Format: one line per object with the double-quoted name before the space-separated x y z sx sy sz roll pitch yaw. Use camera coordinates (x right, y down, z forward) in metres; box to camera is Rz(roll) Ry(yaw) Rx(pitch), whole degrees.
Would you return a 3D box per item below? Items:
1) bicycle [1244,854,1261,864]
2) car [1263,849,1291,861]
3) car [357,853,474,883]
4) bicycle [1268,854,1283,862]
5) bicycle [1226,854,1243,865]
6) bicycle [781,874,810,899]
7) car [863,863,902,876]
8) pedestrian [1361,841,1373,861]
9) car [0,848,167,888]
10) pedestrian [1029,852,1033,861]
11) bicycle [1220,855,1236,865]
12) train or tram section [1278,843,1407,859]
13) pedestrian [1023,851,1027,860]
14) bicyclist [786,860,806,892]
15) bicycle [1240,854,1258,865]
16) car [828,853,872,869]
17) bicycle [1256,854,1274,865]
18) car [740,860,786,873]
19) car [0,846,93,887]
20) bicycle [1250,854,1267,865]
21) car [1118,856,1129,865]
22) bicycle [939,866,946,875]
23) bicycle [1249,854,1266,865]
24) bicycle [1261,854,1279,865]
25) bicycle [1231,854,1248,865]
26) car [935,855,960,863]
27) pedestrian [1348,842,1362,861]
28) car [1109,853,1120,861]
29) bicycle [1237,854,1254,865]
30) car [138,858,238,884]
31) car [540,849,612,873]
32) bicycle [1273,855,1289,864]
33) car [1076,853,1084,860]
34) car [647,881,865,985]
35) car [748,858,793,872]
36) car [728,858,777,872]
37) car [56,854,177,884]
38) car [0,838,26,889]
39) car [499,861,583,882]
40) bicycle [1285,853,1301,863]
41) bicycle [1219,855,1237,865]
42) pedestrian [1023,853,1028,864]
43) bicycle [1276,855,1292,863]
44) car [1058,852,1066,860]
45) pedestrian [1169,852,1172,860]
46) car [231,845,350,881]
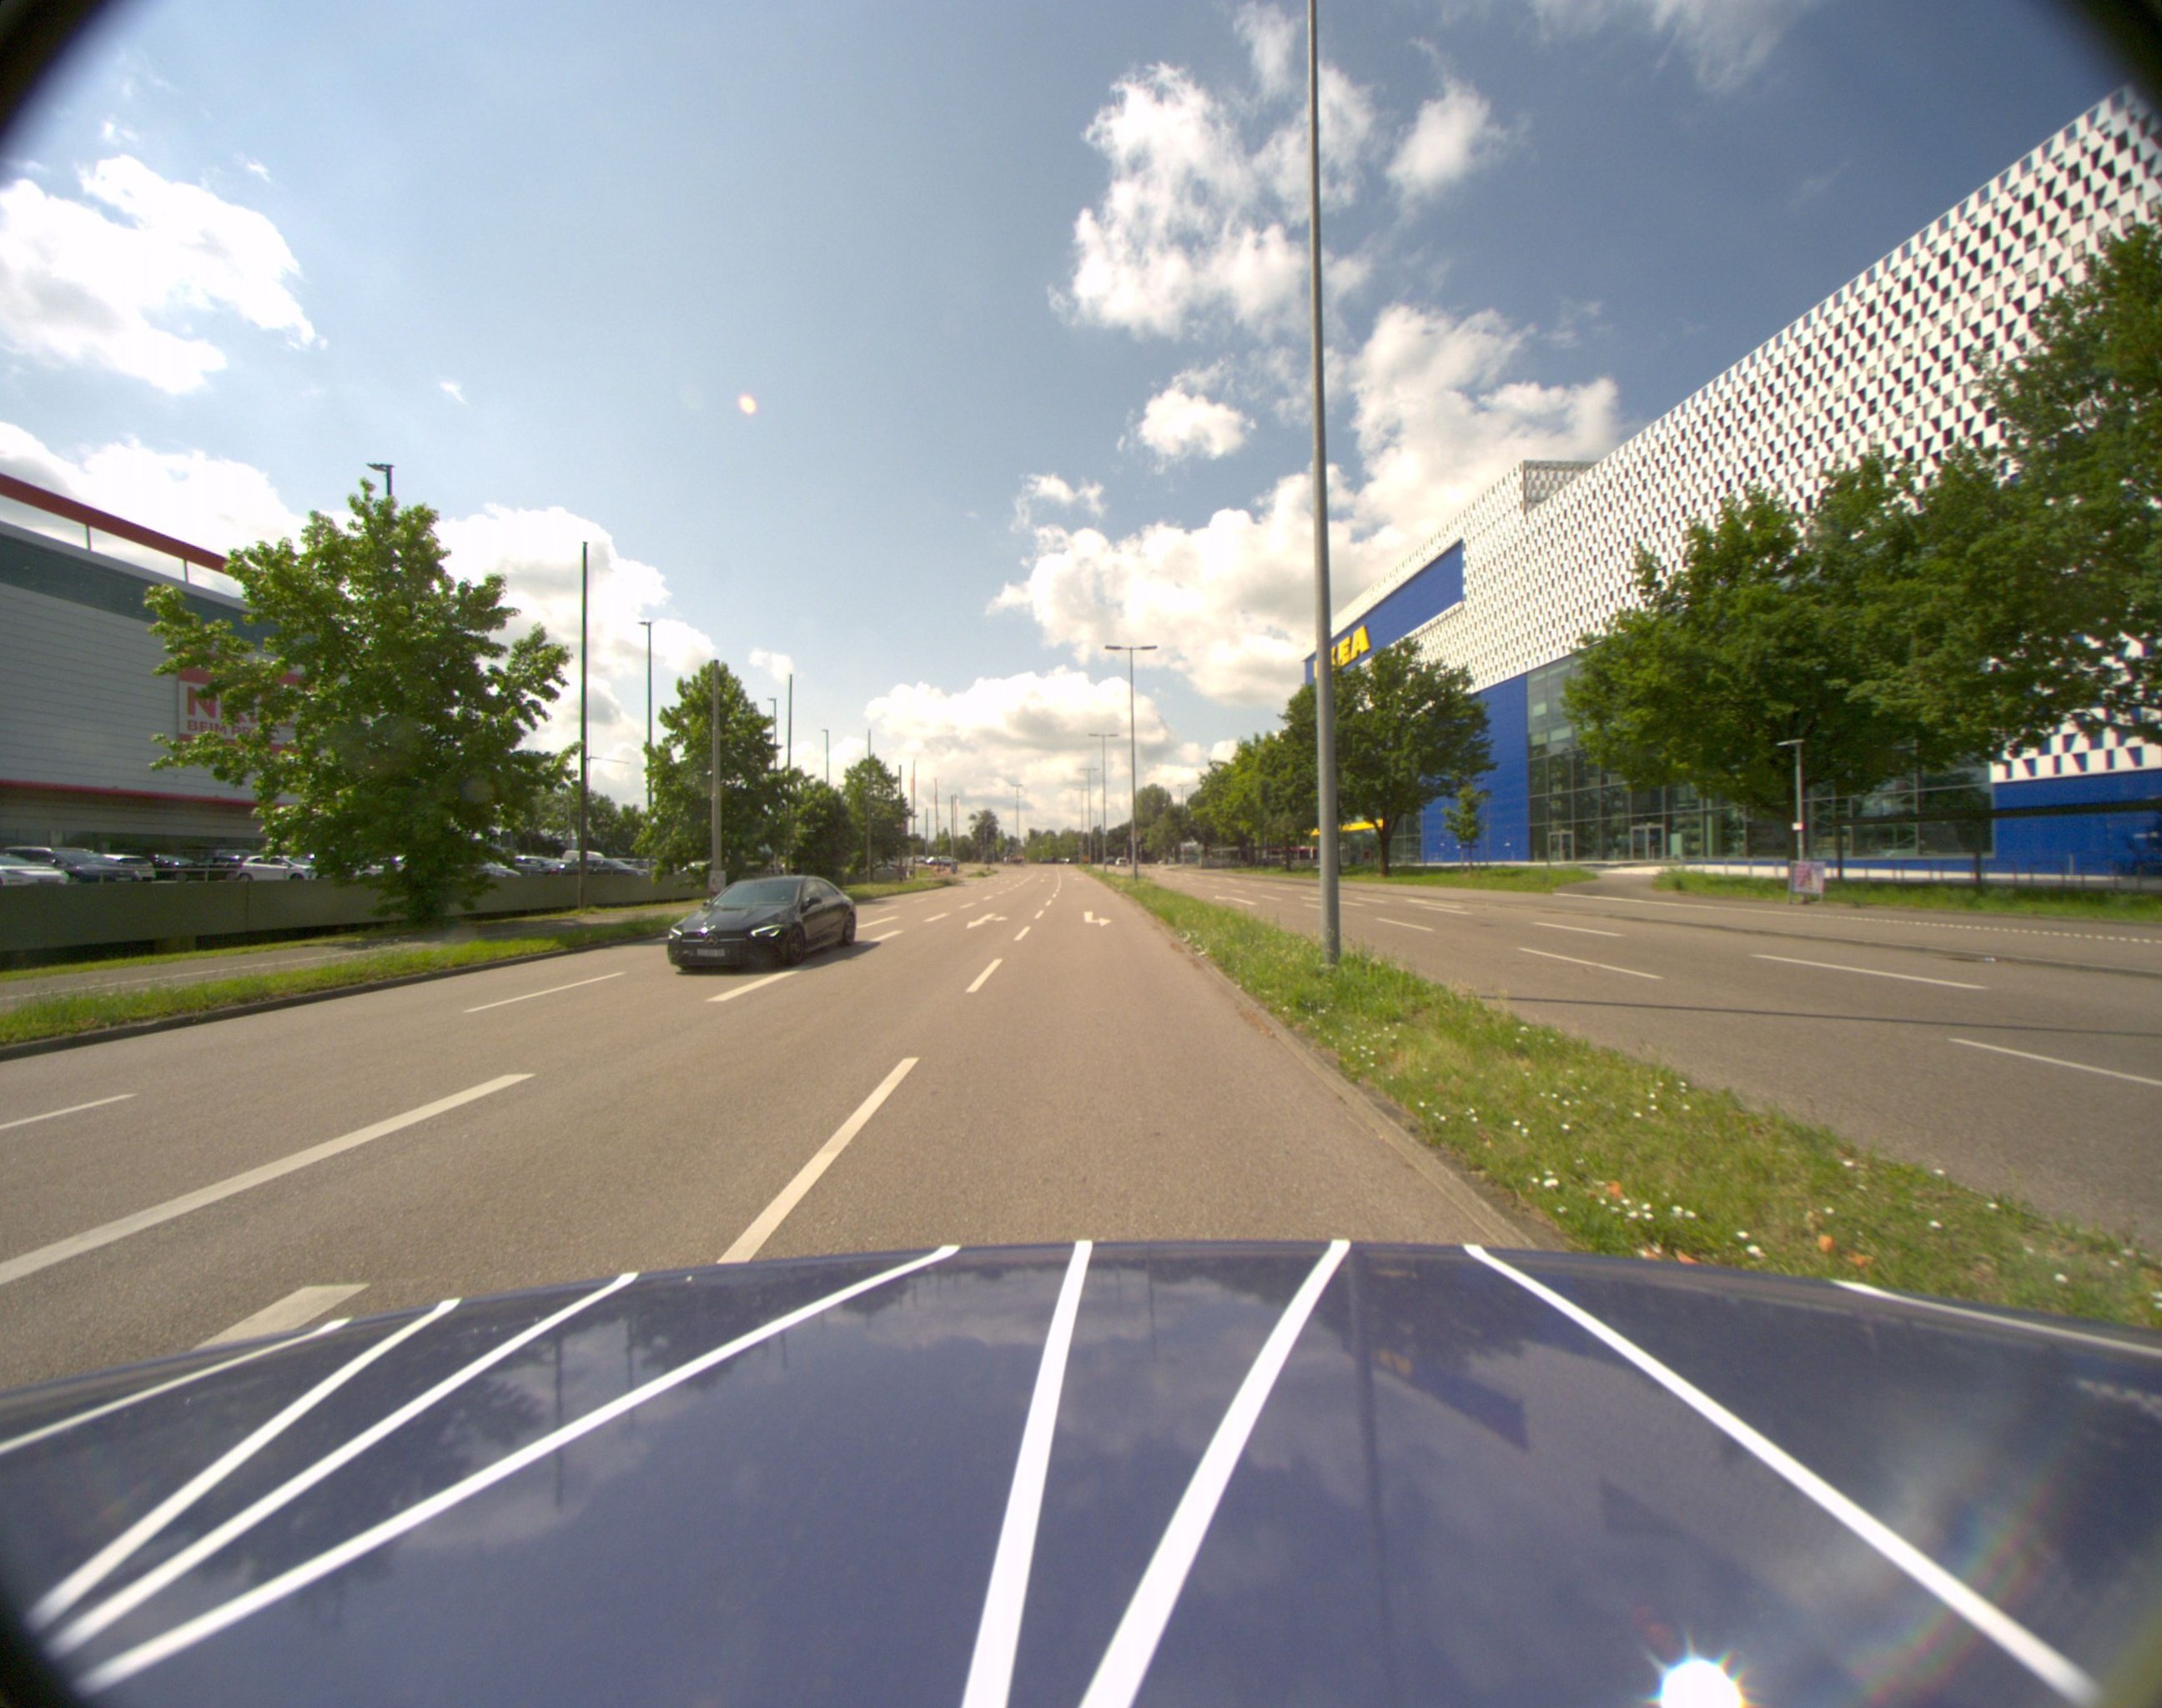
"bicycle" 21.499 0.635 95.152 1.930 1.265 0.629 -1 0 -2
"car" 37.371 0.192 145.115 4.821 2.001 1.999 -1 -1 -5
"car" -34.195 0.700 39.136 4.196 1.381 1.892 -2 0 -4
"bicycle" 26.643 0.551 103.924 1.940 1.064 0.528 -1 1 -6
"bicycle" 19.237 0.693 95.061 1.930 1.265 0.629 -1 0 -2
"bicycle" -12.811 1.436 34.158 0.625 1.061 1.968 0 0 -1
"car" -25.151 1.976 96.420 4.369 1.468 1.857 -2 0 0
"pedestrian" 26.235 -0.297 69.668 0.755 1.812 0.887 -2 0 -2
"car" -39.126 0.549 29.776 4.195 1.425 1.893 -2 -1 -2
"pedestrian" -8.809 0.506 132.829 0.556 1.515 0.470 -2 0 7
"bicycle" 19.042 0.737 98.700 1.930 1.265 0.629 -2 0 -2
"train or tram section" 53.379 -0.671 155.433 25.118 3.014 4.529 0 0 -3
"pedestrian" -9.669 0.294 132.160 0.585 1.515 0.469 -2 0 7
"bicyclist" -12.819 0.998 34.195 0.617 1.404 0.715 -1 0 -1
"bicycle" 19.408 0.656 87.809 1.930 1.176 0.629 -1 0 -2
"car" -24.203 0.717 79.673 4.026 1.578 1.695 -1 -1 -3
"bicycle" 21.530 0.649 88.984 1.930 1.172 0.629 -1 0 -2
"car" -34.957 1.409 83.514 4.369 1.433 1.627 0 -1 0
"car" -38.456 0.432 27.036 4.195 1.425 1.726 0 -1 -2
"bicycle" 21.410 0.634 91.763 1.930 1.265 0.629 -1 0 -2
"car" 7.041 1.126 126.037 1.647 1.420 3.670 0 0 0
"bicycle" -15.272 1.832 84.038 0.518 0.947 1.543 -1 1 -2
"bicycle" 21.521 0.657 92.776 1.930 1.265 0.629 -1 0 -2
"bicycle" 21.597 0.624 86.830 1.930 1.177 0.629 -1 0 -2
"bicycle" 19.367 0.702 92.691 1.930 1.265 0.629 -1 0 -2
"car" -24.270 0.828 138.077 4.497 1.404 2.012 0 0 -8
"pedestrian" 24.919 -0.237 69.093 0.952 1.692 0.887 -2 0 -2
"car" 6.110 0.611 138.942 1.668 1.413 4.517 1 0 -2
"bicycle" 21.152 0.726 97.730 1.930 1.265 0.629 -2 0 -2
"car" -53.516 0.995 45.587 3.998 1.411 1.629 -1 -1 -2
"car" -70.196 0.937 105.756 7.898 3.136 3.122 -1 1 1
"bicycle" 26.687 0.741 101.295 1.935 1.083 0.520 -1 0 -5
"car" -0.262 0.517 156.101 1.415 1.383 4.095 1 0 -1
"car" -5.263 1.208 12.991 1.797 1.311 4.163 -2 0 1
"car" -34.981 1.248 85.759 4.369 1.499 1.682 0 0 0
"car" -35.010 1.140 81.018 4.369 1.354 1.847 -2 0 0
"car" -49.216 0.766 38.825 3.998 1.411 1.629 -1 -1 -2
"car" -34.382 0.339 22.351 3.998 1.506 1.746 -1 1 -3
"car" -34.750 1.115 48.955 4.195 1.317 1.688 0 0 -2
"bicycle" 27.428 0.533 98.509 1.940 1.202 0.528 -1 1 -6
"bicycle" 18.696 0.784 96.444 2.095 1.265 0.629 -1 0 -2
"pedestrian" -9.500 0.775 130.444 0.688 1.718 0.701 0 2 10
"bicycle" 26.789 0.685 100.212 1.940 1.064 0.528 -1 1 -6
"car" -3.795 0.406 152.417 1.608 1.484 4.131 1 0 -2
"pedestrian" 16.384 0.430 139.049 0.439 1.481 0.619 -1 1 -18
"car" -40.680 0.446 39.193 3.997 1.710 2.000 -1 -1 -1
